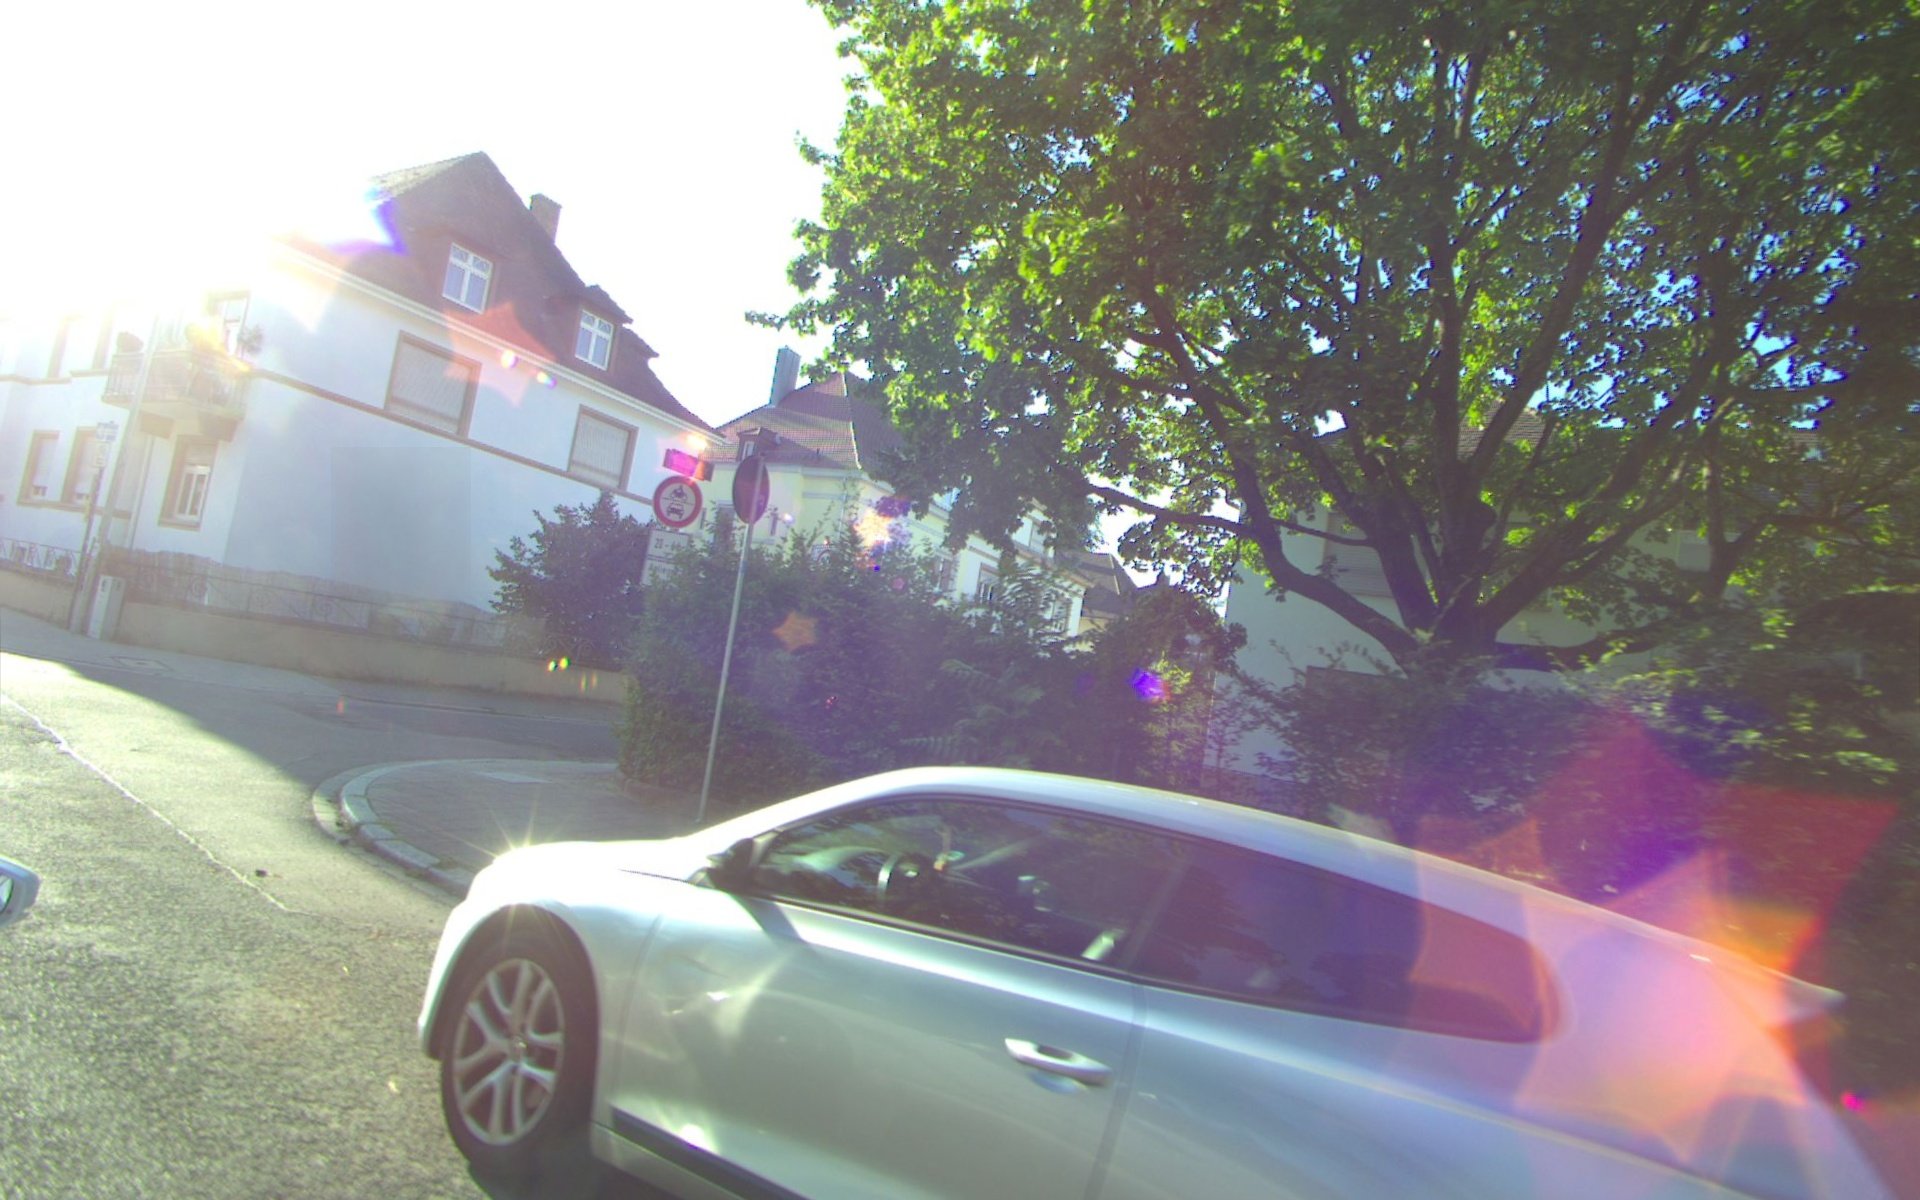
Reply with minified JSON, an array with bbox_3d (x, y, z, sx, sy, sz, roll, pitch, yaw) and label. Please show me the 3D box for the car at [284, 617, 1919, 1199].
[{"bbox_3d":[0.086,1.191,3.002,4.005,1.429,1.769,7,-11,32],"label":"car"}]
